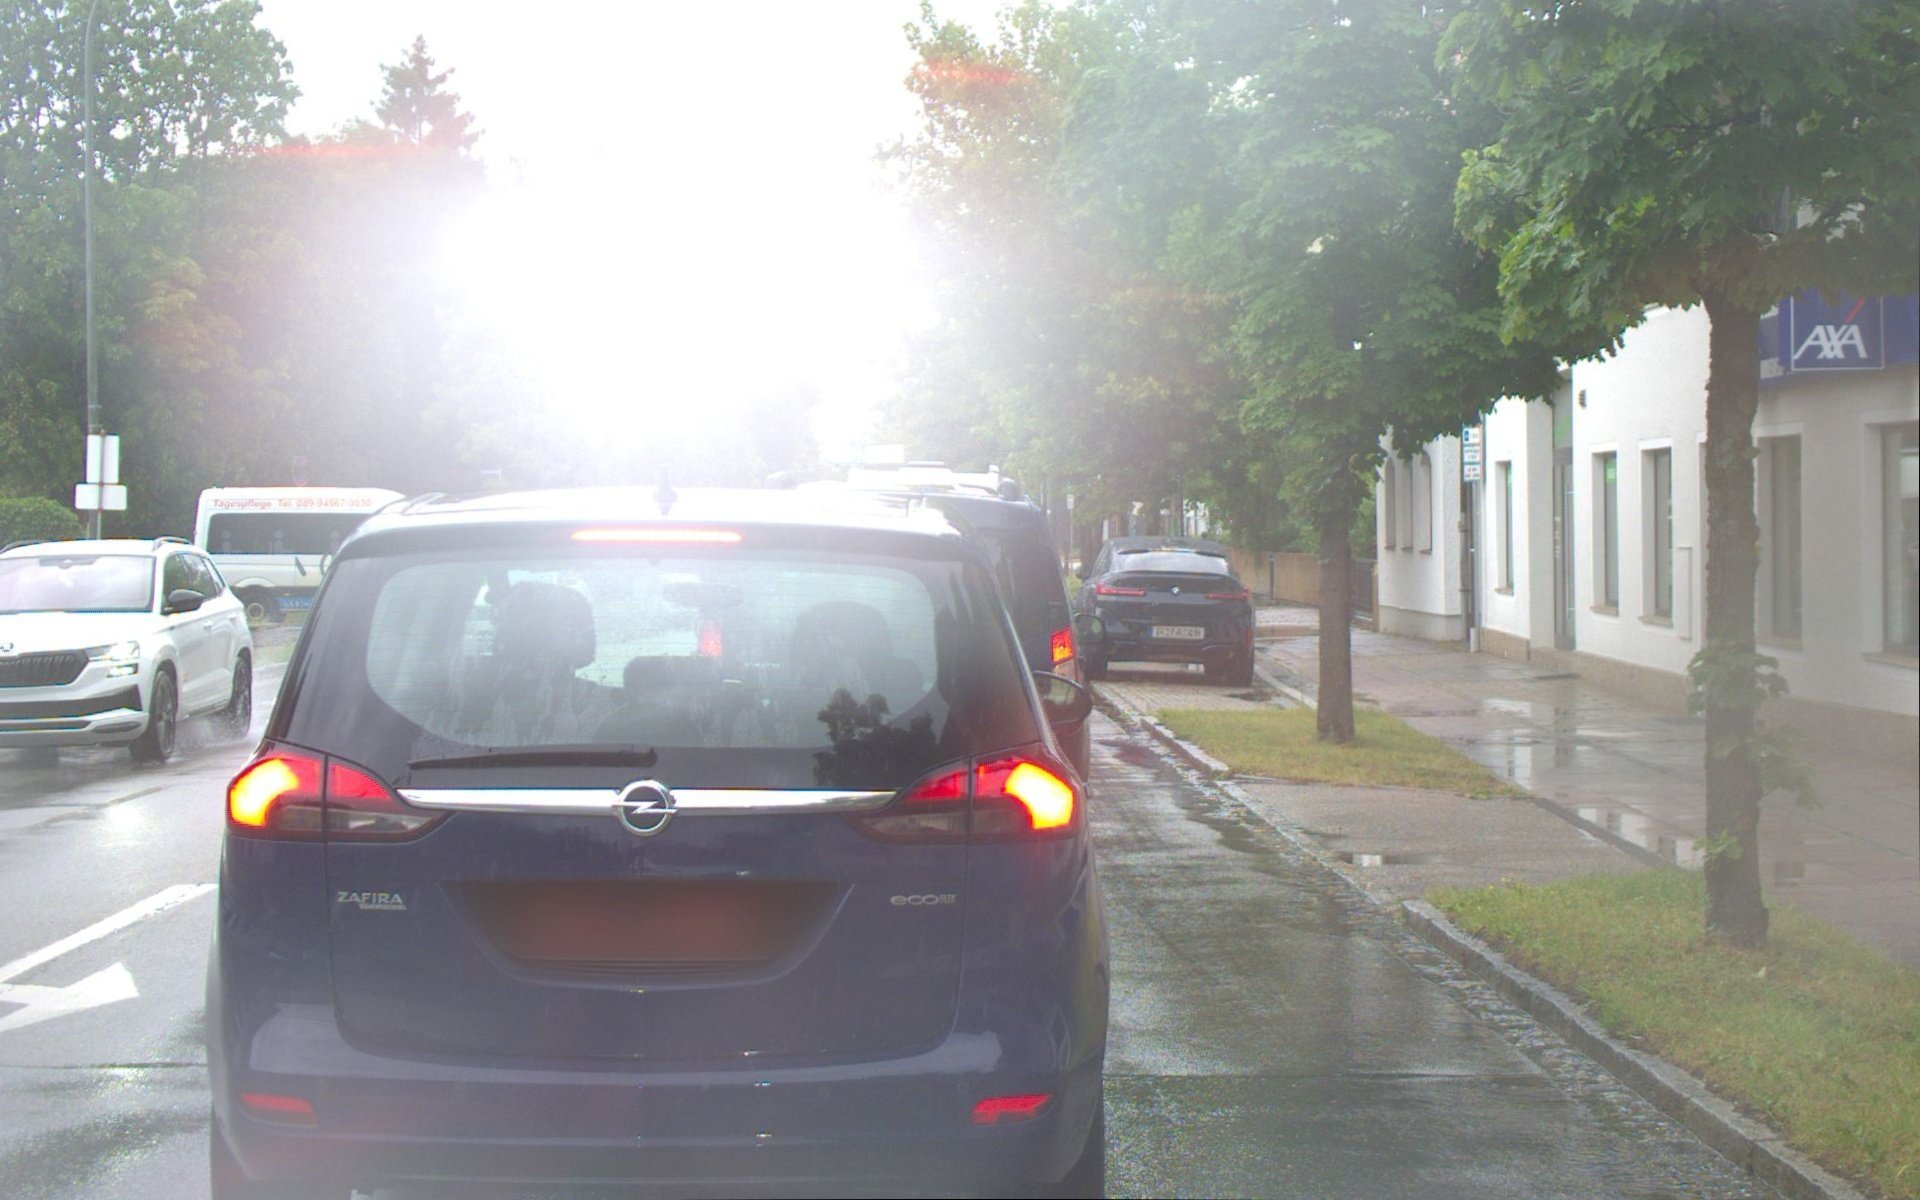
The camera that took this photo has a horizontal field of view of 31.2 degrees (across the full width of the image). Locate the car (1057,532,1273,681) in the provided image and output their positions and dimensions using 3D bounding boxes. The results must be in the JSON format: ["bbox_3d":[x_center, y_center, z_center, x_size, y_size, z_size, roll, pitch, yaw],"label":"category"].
[{"bbox_3d":[2.281,0.043,39.286,2.117,1.576,3.936,1,1,-1],"label":"car"}]

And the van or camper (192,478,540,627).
[{"bbox_3d":[-11.103,-0.901,64.608,6.247,2.698,2.101,0,1,-4],"label":"van or camper"}]

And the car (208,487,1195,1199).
[{"bbox_3d":[-0.486,0.572,8.038,1.768,1.599,3.663,1,1,-1],"label":"car"}]

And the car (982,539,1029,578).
[{"bbox_3d":[1.676,-1.536,127.976,1.630,1.373,3.623,1,0,-1],"label":"car"}]

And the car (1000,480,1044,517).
[{"bbox_3d":[2.461,-4.040,137.524,1.630,1.373,3.623,-1,1,-1],"label":"car"}]

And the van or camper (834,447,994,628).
[{"bbox_3d":[-0.706,-0.977,53.662,2.360,2.656,5.372,0,1,0],"label":"van or camper"}]

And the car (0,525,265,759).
[{"bbox_3d":[-6.514,0.260,25.281,1.967,1.557,4.152,-1,1,-1],"label":"car"}]

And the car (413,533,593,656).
[{"bbox_3d":[-6.101,-0.105,46.332,1.926,1.561,4.126,-1,1,-1],"label":"car"}]

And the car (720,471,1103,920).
[{"bbox_3d":[-0.208,0.354,15.306,1.500,1.770,3.112,1,1,-1],"label":"car"}]

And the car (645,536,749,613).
[{"bbox_3d":[-5.448,-0.546,71.637,1.752,1.506,4.230,-2,1,0],"label":"car"}]
